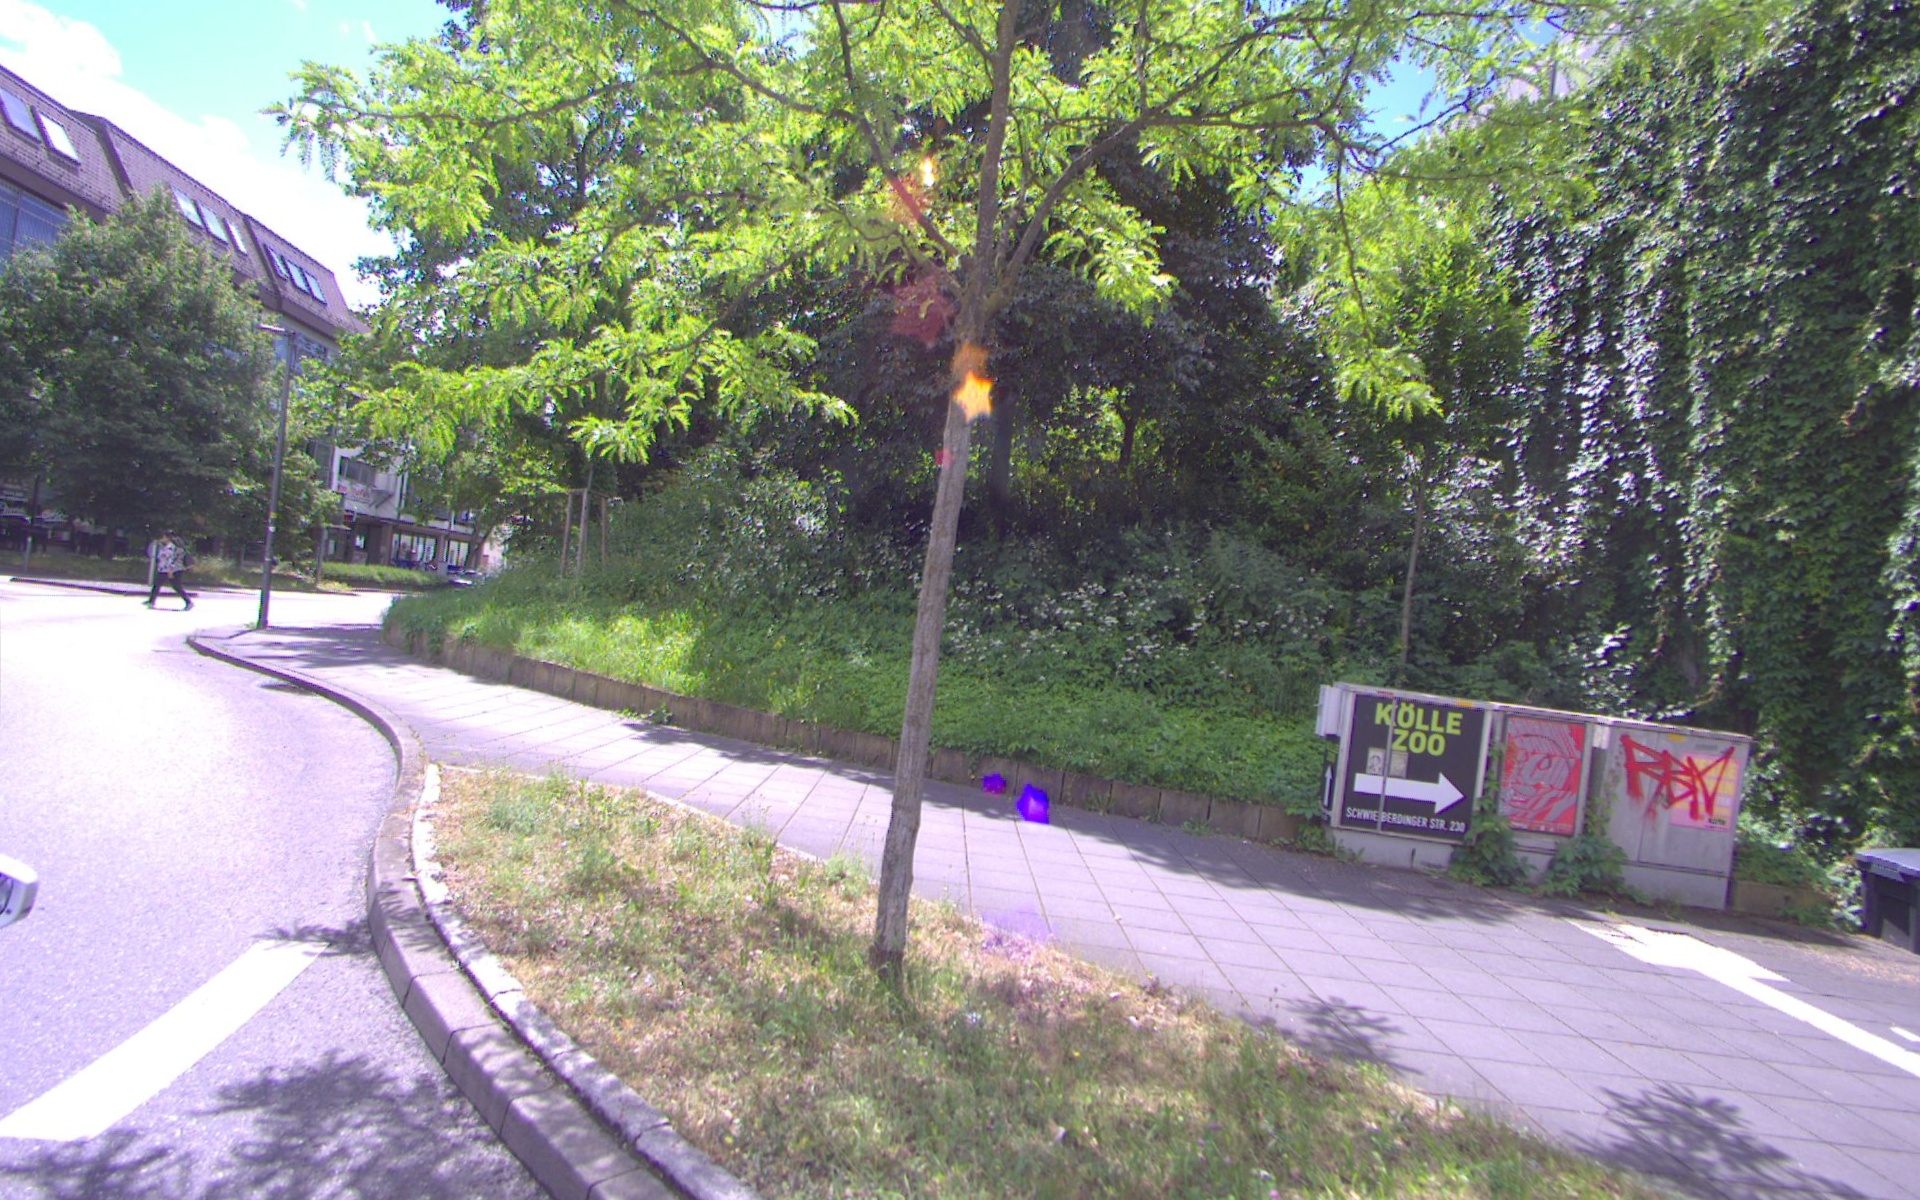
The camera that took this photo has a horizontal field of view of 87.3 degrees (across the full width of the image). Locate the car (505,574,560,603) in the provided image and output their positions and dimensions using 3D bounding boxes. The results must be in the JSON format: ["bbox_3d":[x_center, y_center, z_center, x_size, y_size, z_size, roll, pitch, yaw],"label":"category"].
[{"bbox_3d":[-28.768,-0.754,67.828,1.965,1.525,4.584,8,-2,-5],"label":"car"}]

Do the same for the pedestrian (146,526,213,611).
[{"bbox_3d":[-15.764,-0.637,20.316,0.768,1.572,0.763,6,-1,38],"label":"pedestrian"}]

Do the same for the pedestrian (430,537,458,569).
[{"bbox_3d":[-36.677,-3.355,71.509,1.326,2.036,1.087,7,-2,-10],"label":"pedestrian"}]

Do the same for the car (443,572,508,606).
[{"bbox_3d":[-27.053,-0.572,56.325,1.967,1.525,4.579,8,-2,-10],"label":"car"}]
